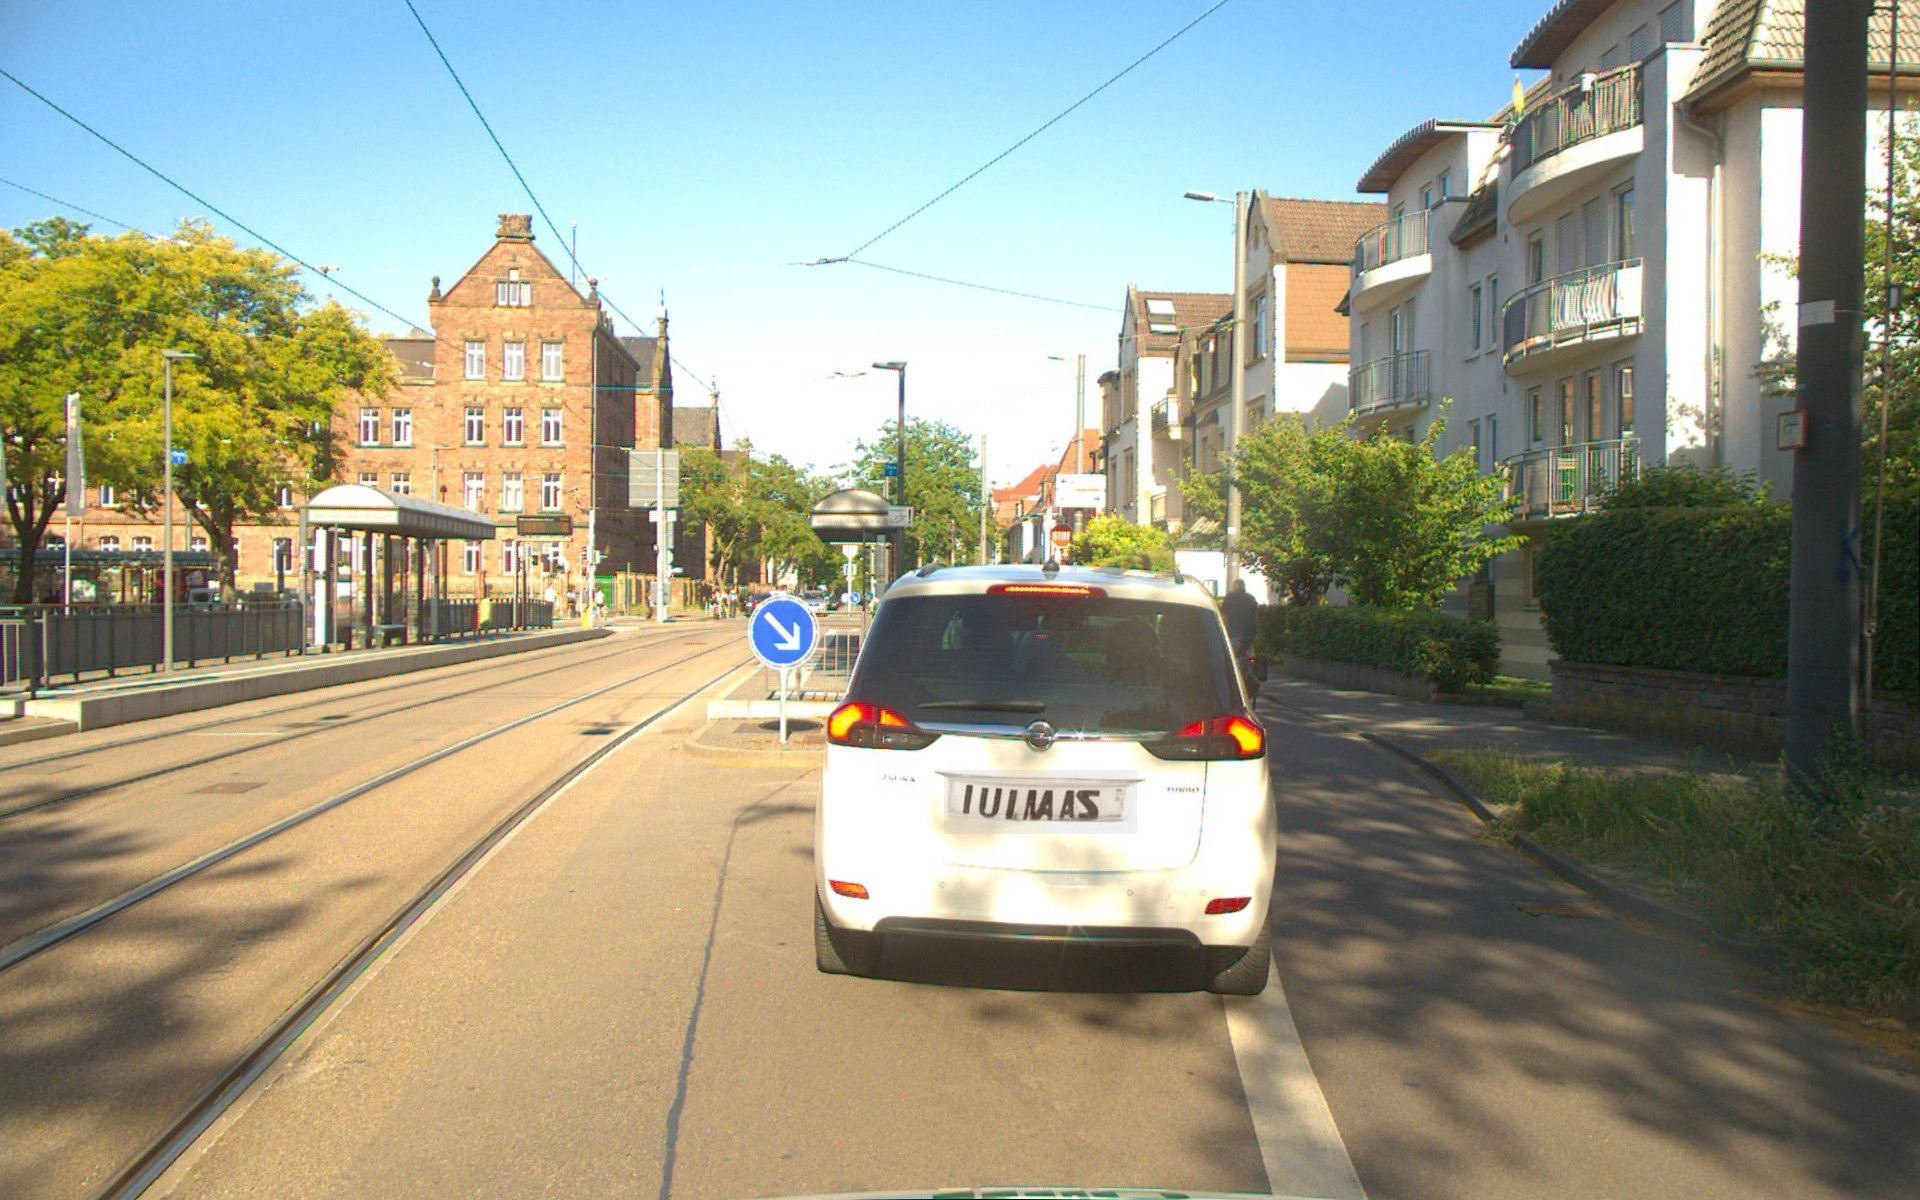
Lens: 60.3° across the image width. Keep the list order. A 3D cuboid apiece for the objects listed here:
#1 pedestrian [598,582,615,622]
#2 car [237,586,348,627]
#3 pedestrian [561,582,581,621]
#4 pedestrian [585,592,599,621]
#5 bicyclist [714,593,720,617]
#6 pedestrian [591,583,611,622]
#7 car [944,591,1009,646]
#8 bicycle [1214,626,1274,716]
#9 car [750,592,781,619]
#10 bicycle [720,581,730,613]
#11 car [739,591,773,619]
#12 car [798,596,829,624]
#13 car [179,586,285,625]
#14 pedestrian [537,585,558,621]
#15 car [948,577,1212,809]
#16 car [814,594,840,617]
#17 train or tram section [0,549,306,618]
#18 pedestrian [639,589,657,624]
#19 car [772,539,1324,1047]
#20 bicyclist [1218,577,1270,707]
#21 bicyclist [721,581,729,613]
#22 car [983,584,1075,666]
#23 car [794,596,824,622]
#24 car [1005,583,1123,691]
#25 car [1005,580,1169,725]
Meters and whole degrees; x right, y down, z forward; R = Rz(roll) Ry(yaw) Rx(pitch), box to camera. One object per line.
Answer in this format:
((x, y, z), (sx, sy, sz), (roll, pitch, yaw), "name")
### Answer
((-18.090, 0.100, 84.691), (0.782, 2.049, 0.717), (1, -1, -18), "pedestrian")
((-28.121, 0.278, 69.744), (3.908, 1.658, 1.817), (1, 0, -4), "car")
((-20.717, 0.096, 88.022), (0.788, 2.049, 0.712), (1, -1, -34), "pedestrian")
((-21.121, 0.382, 94.947), (0.640, 1.640, 0.711), (1, -1, 1), "pedestrian")
((-15.114, 0.303, 102.801), (0.307, 1.469, 0.384), (0, 0, -1), "bicyclist")
((-19.263, 0.124, 88.666), (0.789, 2.049, 0.711), (1, -1, -38), "pedestrian")
((0.498, 0.560, 53.083), (1.869, 1.690, 3.998), (0, 0, -2), "car")
((3.803, 0.929, 22.247), (0.611, 1.116, 1.974), (0, 0, 4), "bicycle")
((-13.316, 0.370, 113.497), (1.711, 1.746, 3.999), (1, 0, -1), "car")
((-15.428, -0.188, 108.656), (0.477, 2.049, 1.405), (0, 0, -1), "bicycle")
((-13.169, 0.310, 106.833), (1.711, 1.746, 3.999), (1, 0, -1), "car")
((-9.462, 0.632, 107.201), (1.711, 1.746, 3.999), (1, 0, -1), "car")
((-32.453, 0.232, 73.817), (3.908, 1.658, 1.817), (1, 0, -4), "car")
((-22.115, 0.155, 88.673), (0.791, 1.934, 0.744), (1, -1, 13), "pedestrian")
((1.068, 0.648, 13.775), (1.866, 1.625, 4.003), (0, 0, 6), "car")
((-10.367, 0.457, 128.899), (1.711, 1.746, 3.999), (1, 0, -1), "car")
((-40.756, -0.748, 79.418), (17.048, 3.210, 3.343), (0, 0, -6), "train or tram section")
((-17.902, 0.372, 94.768), (0.735, 1.934, 0.801), (1, -1, -35), "pedestrian")
((0.503, 0.633, 7.611), (1.866, 1.690, 4.003), (0, 0, 6), "car")
((3.801, 0.551, 22.188), (0.603, 1.716, 0.779), (0, 0, 4), "bicyclist")
((-15.433, -0.188, 108.675), (0.488, 2.049, 0.572), (0, 0, -1), "bicyclist")
((1.443, 0.507, 36.120), (1.868, 1.690, 4.000), (0, 0, 0), "car")
((-10.480, 0.611, 115.043), (1.711, 1.746, 3.999), (1, 0, -1), "car")
((1.787, 0.579, 28.287), (1.867, 1.690, 4.002), (0, 0, 4), "car")
((1.679, 0.589, 21.008), (1.866, 1.653, 4.003), (0, 0, 6), "car")
